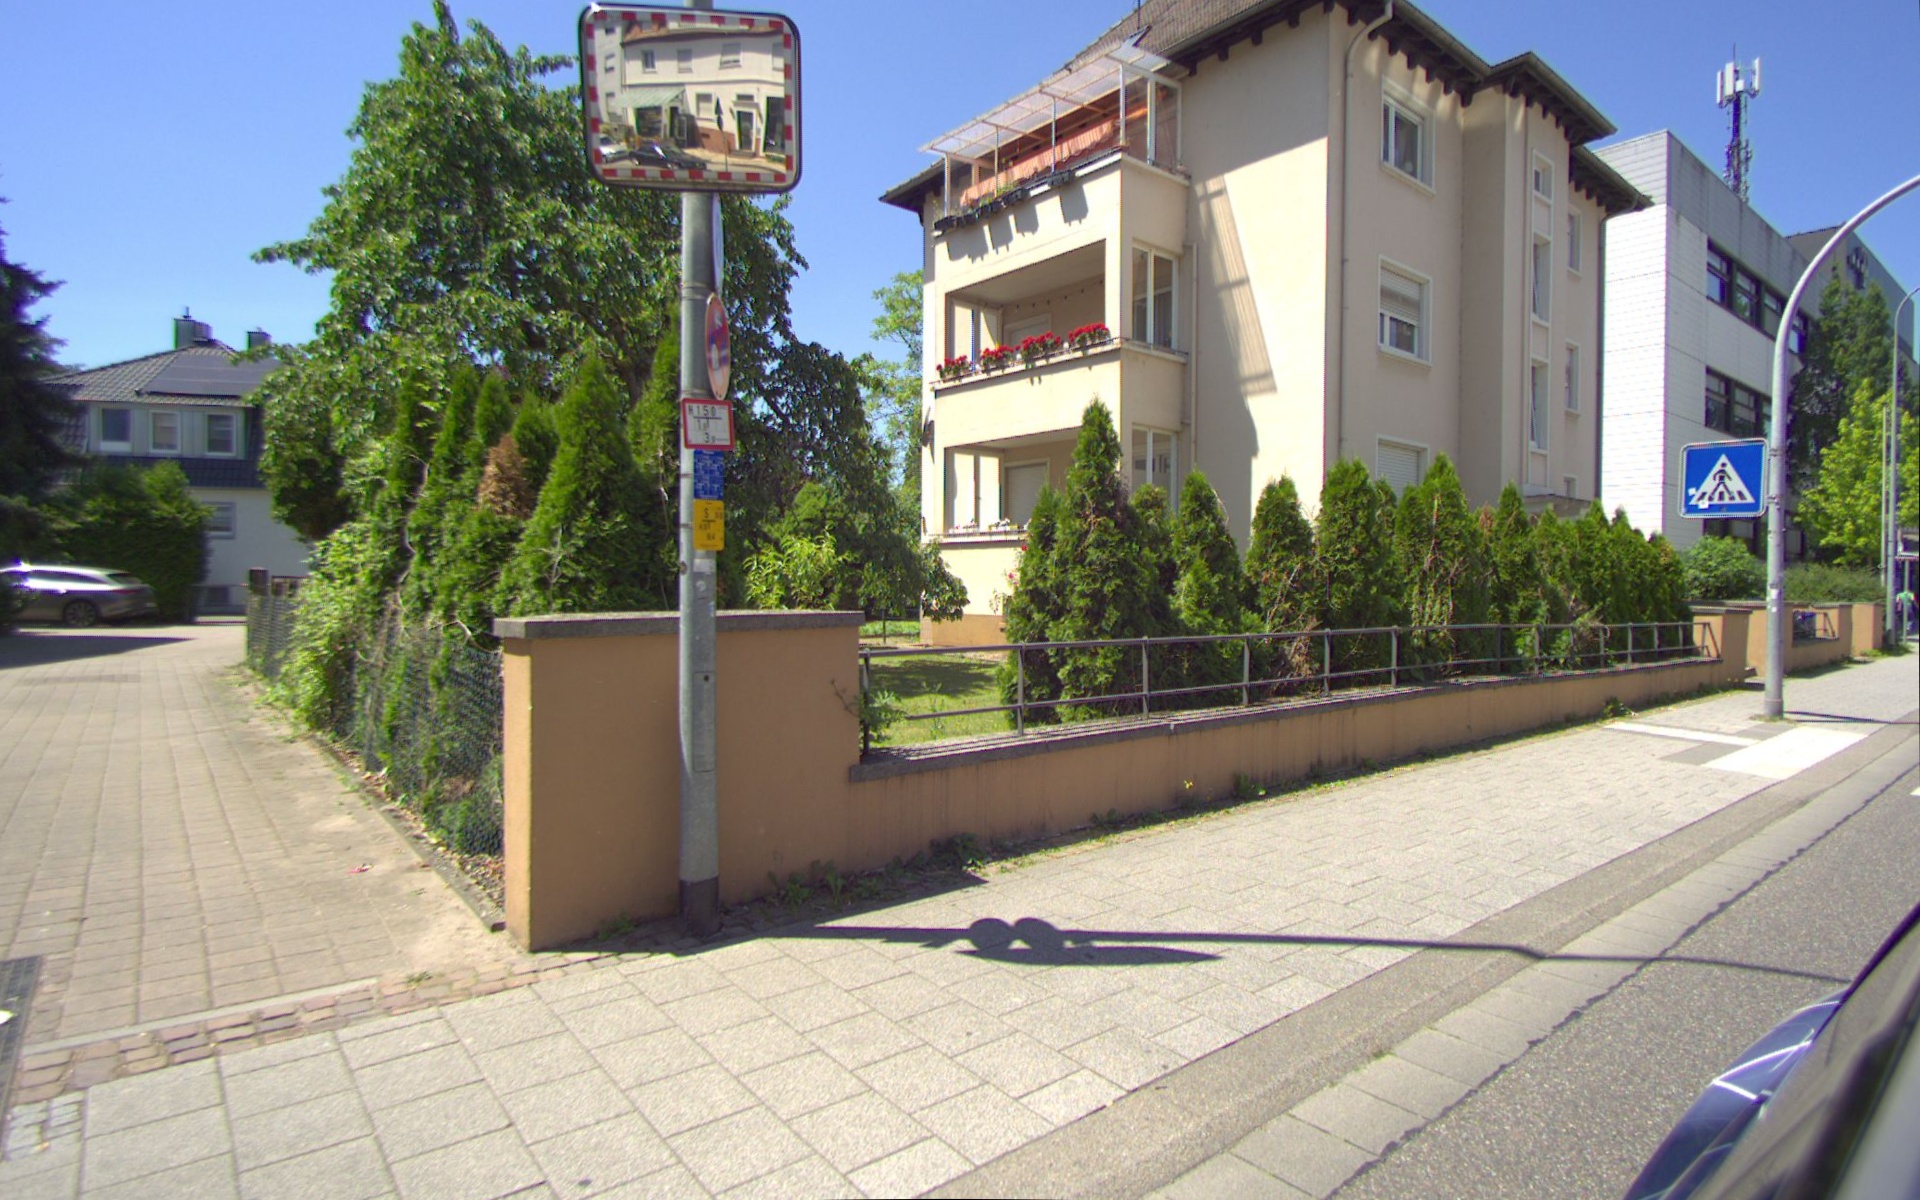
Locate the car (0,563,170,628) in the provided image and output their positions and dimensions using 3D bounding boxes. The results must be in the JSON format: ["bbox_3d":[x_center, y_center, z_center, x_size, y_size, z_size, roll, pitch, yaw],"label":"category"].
[{"bbox_3d":[-21.265,-0.090,23.744,3.916,1.448,1.915,-1,-1,-21],"label":"car"}]

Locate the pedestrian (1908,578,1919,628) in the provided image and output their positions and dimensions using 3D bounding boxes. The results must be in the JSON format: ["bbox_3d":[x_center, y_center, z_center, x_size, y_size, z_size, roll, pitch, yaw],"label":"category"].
[{"bbox_3d":[33.798,0.092,35.459,1.031,1.721,0.680,-1,2,-39],"label":"pedestrian"}]

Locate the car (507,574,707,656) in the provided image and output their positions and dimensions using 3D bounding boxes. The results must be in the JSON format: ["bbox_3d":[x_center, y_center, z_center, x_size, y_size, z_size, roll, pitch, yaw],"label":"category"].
[{"bbox_3d":[-6.983,0.238,20.209,1.608,1.477,3.447,1,1,44],"label":"car"}]
